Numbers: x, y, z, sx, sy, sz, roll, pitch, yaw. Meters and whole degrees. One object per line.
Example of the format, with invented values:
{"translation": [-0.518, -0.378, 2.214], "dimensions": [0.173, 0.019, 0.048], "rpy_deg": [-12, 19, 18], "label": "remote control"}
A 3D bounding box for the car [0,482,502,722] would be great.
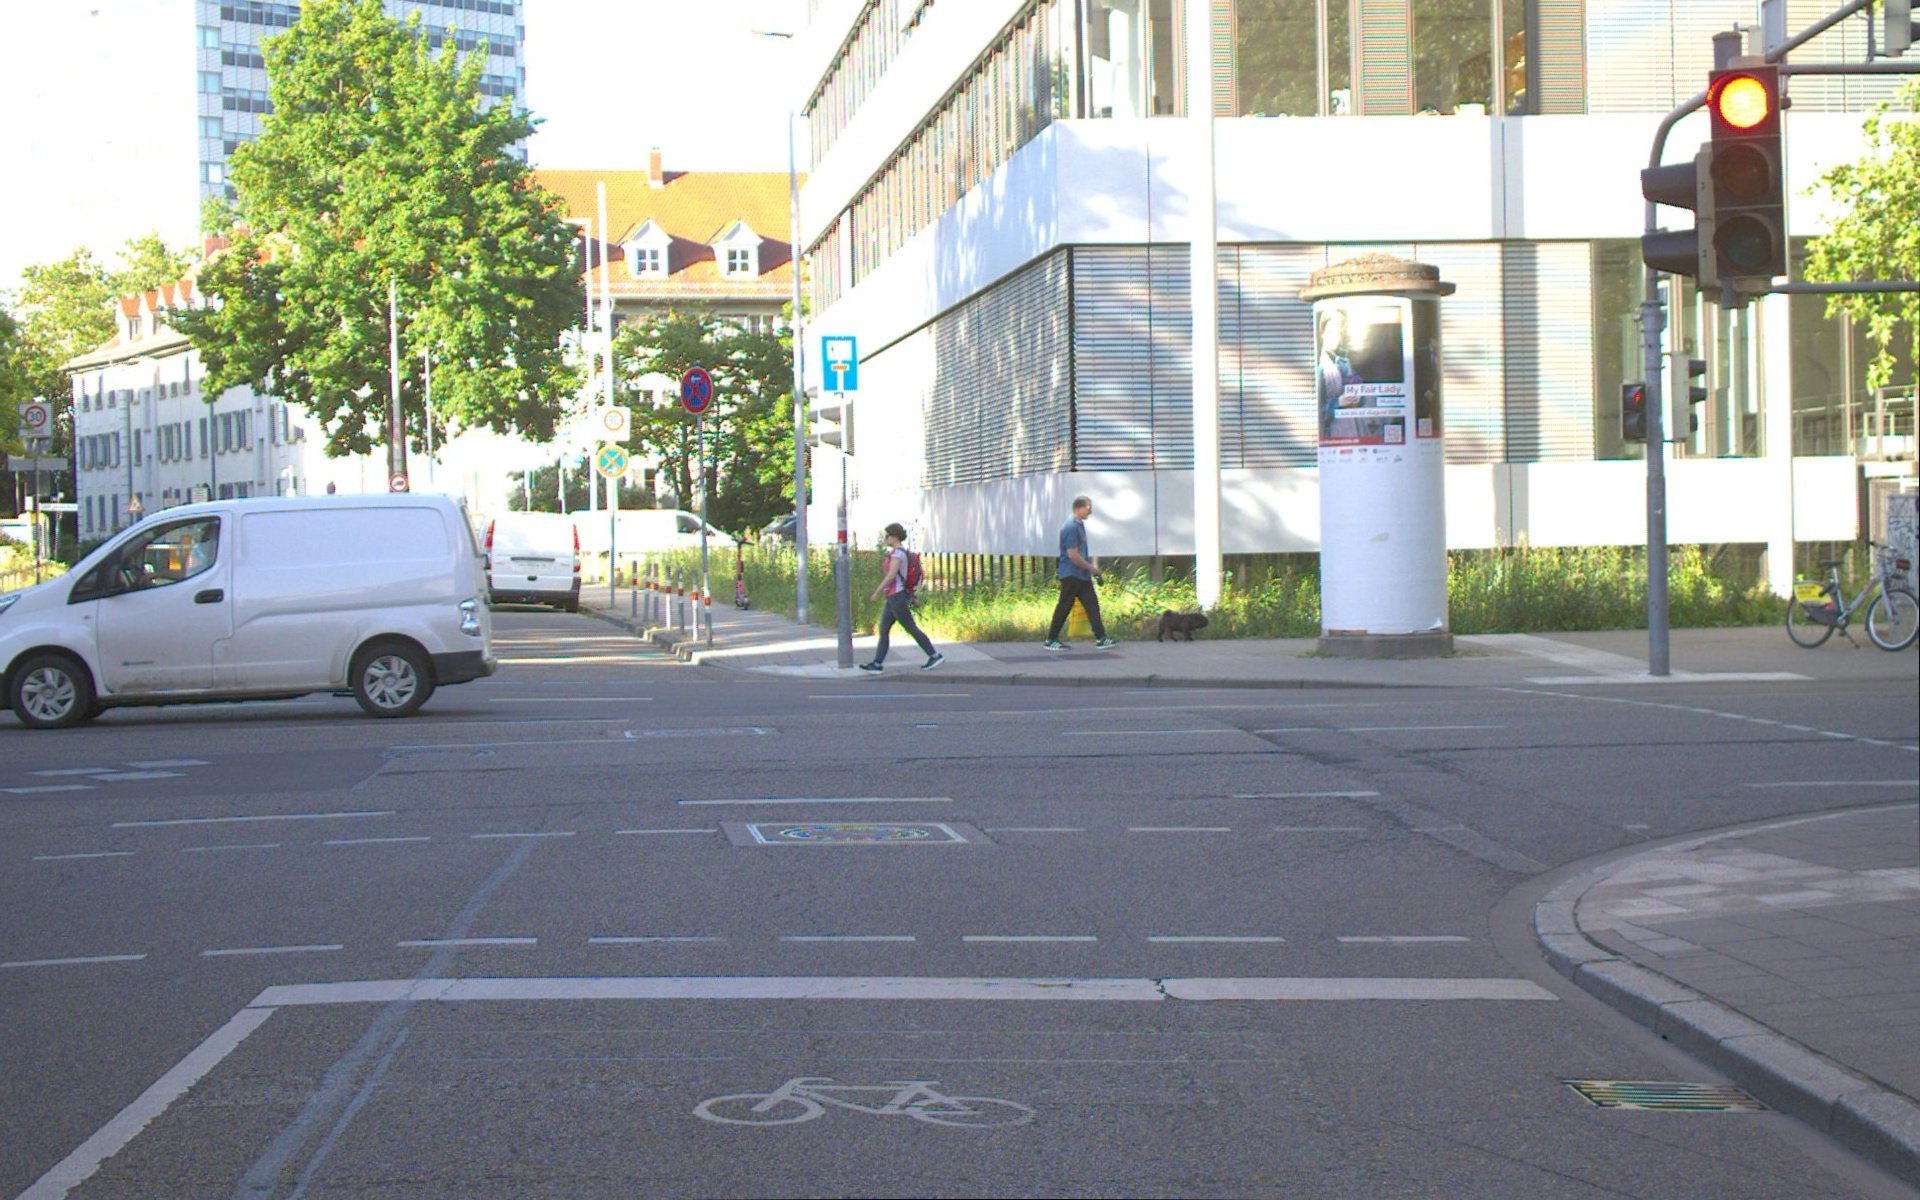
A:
{"translation": [-6.123, 0.002, 28.500], "dimensions": [4.539, 1.793, 1.637], "rpy_deg": [-2, 1, -7], "label": "car"}

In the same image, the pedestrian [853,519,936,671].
{"translation": [-0.694, -0.057, 36.462], "dimensions": [0.712, 1.594, 0.617], "rpy_deg": [-1, 1, 15], "label": "pedestrian"}

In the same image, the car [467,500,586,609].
{"translation": [-8.185, -0.870, 64.618], "dimensions": [2.066, 1.956, 4.239], "rpy_deg": [-1, 1, -9], "label": "car"}

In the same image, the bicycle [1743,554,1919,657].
{"translation": [9.168, 0.050, 36.097], "dimensions": [0.463, 1.045, 1.914], "rpy_deg": [-2, 2, -42], "label": "bicycle"}

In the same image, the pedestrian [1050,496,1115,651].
{"translation": [1.396, -0.307, 39.065], "dimensions": [0.652, 1.730, 0.812], "rpy_deg": [-1, 1, 6], "label": "pedestrian"}

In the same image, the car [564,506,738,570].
{"translation": [-9.252, -1.848, 102.829], "dimensions": [4.880, 1.865, 2.001], "rpy_deg": [0, 0, -17], "label": "car"}
